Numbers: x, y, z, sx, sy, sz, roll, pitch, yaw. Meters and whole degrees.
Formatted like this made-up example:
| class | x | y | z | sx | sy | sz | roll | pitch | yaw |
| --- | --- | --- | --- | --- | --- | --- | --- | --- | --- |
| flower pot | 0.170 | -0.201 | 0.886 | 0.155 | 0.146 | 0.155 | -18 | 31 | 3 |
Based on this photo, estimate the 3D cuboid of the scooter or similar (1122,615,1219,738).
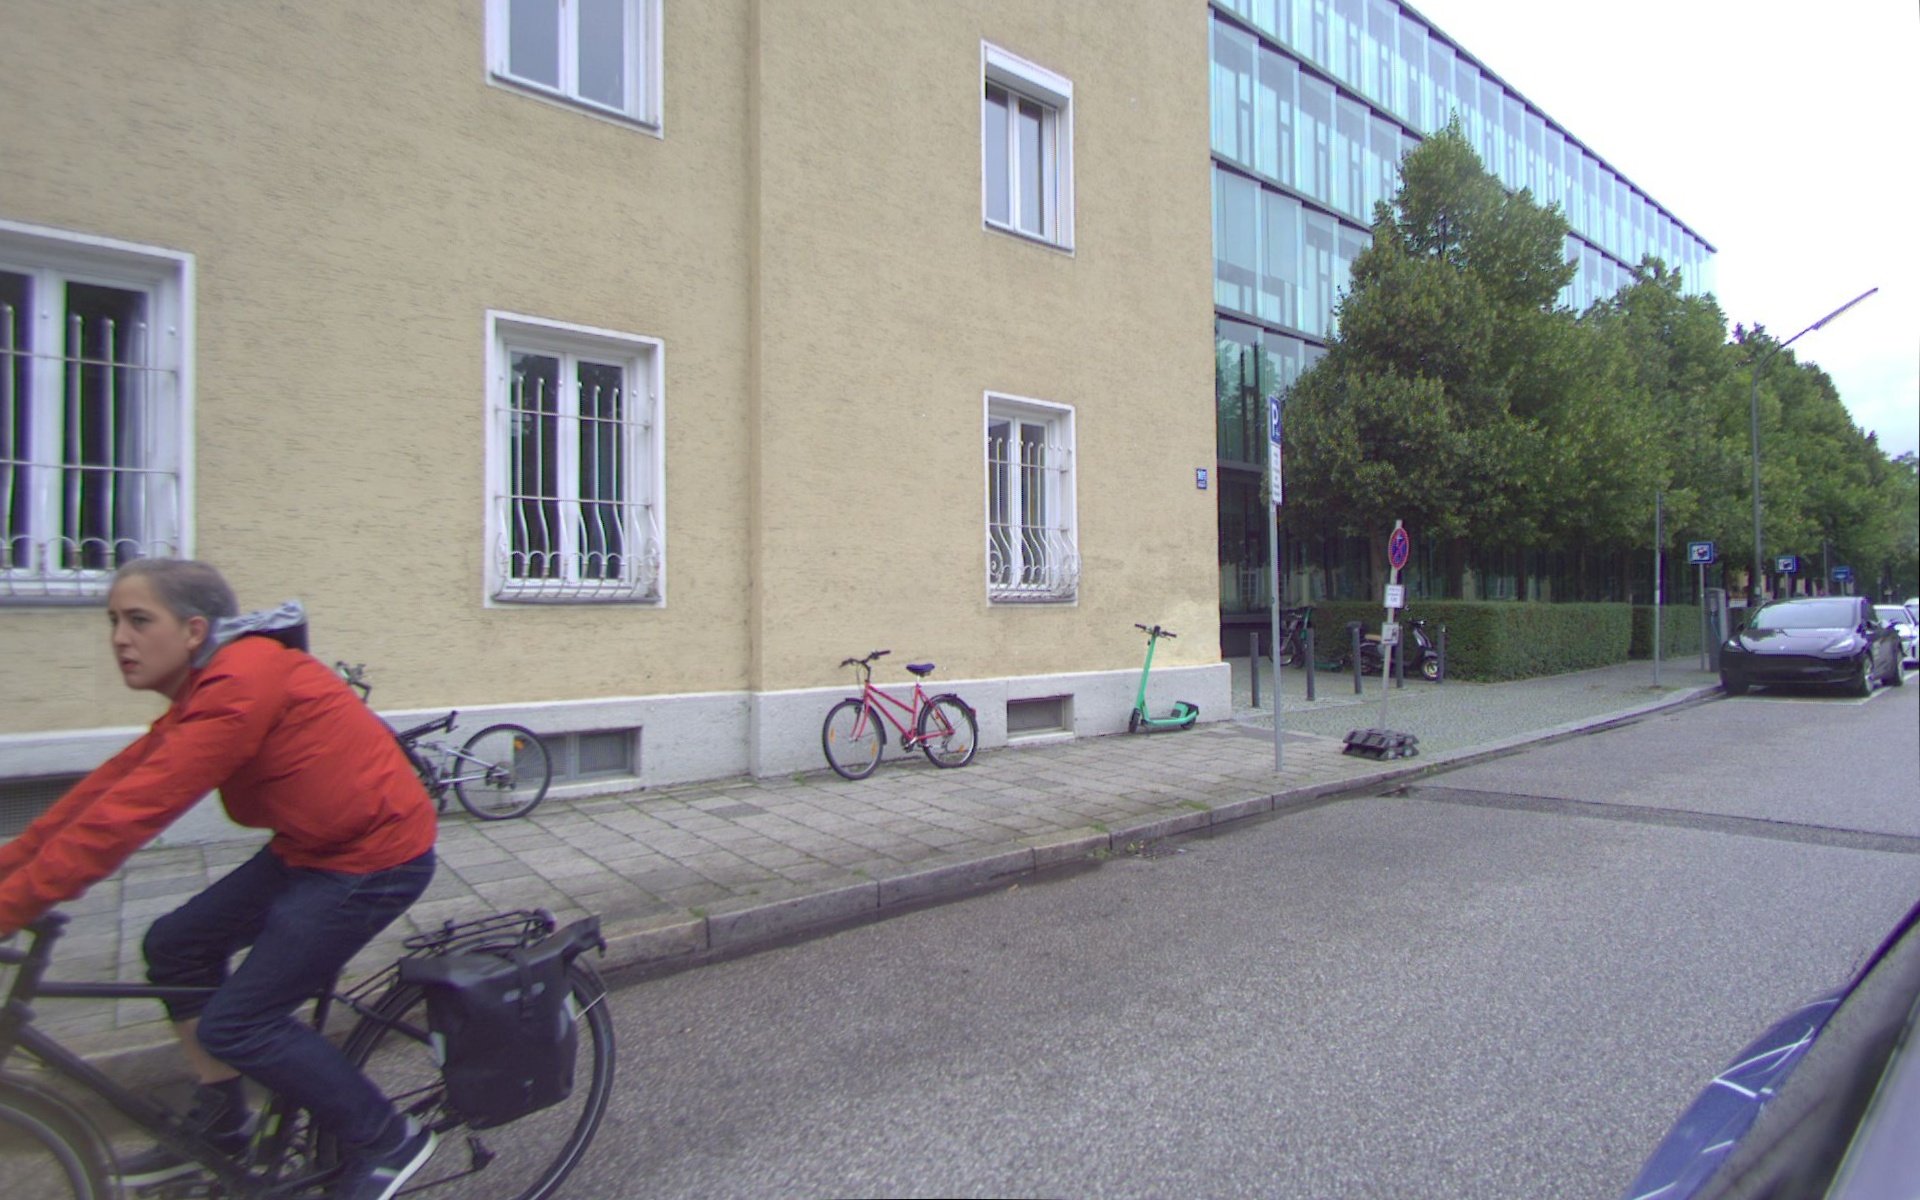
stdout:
| class | x | y | z | sx | sy | sz | roll | pitch | yaw |
| --- | --- | --- | --- | --- | --- | --- | --- | --- | --- |
| scooter or similar | 2.349 | 0.815 | 11.220 | 1.286 | 1.271 | 0.342 | 0 | 0 | -41 |

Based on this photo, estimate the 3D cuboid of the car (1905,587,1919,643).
| class | x | y | z | sx | sy | sz | roll | pitch | yaw |
| --- | --- | --- | --- | --- | --- | --- | --- | --- | --- |
| car | 34.603 | 0.475 | 35.377 | 4.494 | 1.920 | 1.787 | 0 | -3 | -41 |

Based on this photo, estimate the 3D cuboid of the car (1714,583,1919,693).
| class | x | y | z | sx | sy | sz | roll | pitch | yaw |
| --- | --- | --- | --- | --- | --- | --- | --- | --- | --- |
| car | 15.164 | 0.608 | 17.636 | 5.007 | 1.652 | 1.997 | 0 | -2 | -39 |

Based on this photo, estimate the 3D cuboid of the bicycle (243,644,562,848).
| class | x | y | z | sx | sy | sz | roll | pitch | yaw |
| --- | --- | --- | --- | --- | --- | --- | --- | --- | --- |
| bicycle | -3.542 | 0.875 | 6.562 | 1.782 | 1.095 | 0.342 | 0 | 1 | -41 |

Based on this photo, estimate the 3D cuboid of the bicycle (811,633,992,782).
| class | x | y | z | sx | sy | sz | roll | pitch | yaw |
| --- | --- | --- | --- | --- | --- | --- | --- | --- | --- |
| bicycle | -0.471 | 0.880 | 8.798 | 1.728 | 1.150 | 0.342 | 0 | -1 | -41 |

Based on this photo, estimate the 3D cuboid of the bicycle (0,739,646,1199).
| class | x | y | z | sx | sy | sz | roll | pitch | yaw |
| --- | --- | --- | --- | --- | --- | --- | --- | --- | --- |
| bicycle | -1.704 | 0.973 | 2.000 | 1.978 | 1.156 | 0.672 | 0 | -3 | -45 |

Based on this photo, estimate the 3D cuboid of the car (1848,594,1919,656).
| class | x | y | z | sx | sy | sz | roll | pitch | yaw |
| --- | --- | --- | --- | --- | --- | --- | --- | --- | --- |
| car | 26.014 | 0.649 | 27.623 | 4.764 | 1.572 | 1.965 | 0 | -2 | -41 |

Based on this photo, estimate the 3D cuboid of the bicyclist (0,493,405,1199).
| class | x | y | z | sx | sy | sz | roll | pitch | yaw |
| --- | --- | --- | --- | --- | --- | --- | --- | --- | --- |
| bicyclist | -1.738 | 0.590 | 1.990 | 0.965 | 1.502 | 0.754 | 0 | -3 | -45 |

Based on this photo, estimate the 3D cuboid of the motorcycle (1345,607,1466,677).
| class | x | y | z | sx | sy | sz | roll | pitch | yaw |
| --- | --- | --- | --- | --- | --- | --- | --- | --- | --- |
| motorcycle | 8.071 | 0.737 | 18.417 | 0.695 | 1.147 | 1.898 | 0 | 1 | -39 |

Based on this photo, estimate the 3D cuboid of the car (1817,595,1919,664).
| class | x | y | z | sx | sy | sz | roll | pitch | yaw |
| --- | --- | --- | --- | --- | --- | --- | --- | --- | --- |
| car | 22.042 | 0.662 | 24.015 | 4.873 | 1.479 | 1.995 | 0 | -3 | -43 |

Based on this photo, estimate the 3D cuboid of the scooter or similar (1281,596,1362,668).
| class | x | y | z | sx | sy | sz | roll | pitch | yaw |
| --- | --- | --- | --- | --- | --- | --- | --- | --- | --- |
| scooter or similar | 7.051 | 0.594 | 19.762 | 0.659 | 1.318 | 1.349 | -2 | 2 | -44 |

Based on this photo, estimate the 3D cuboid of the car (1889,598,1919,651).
| class | x | y | z | sx | sy | sz | roll | pitch | yaw |
| --- | --- | --- | --- | --- | --- | --- | --- | --- | --- |
| car | 30.432 | 0.713 | 31.360 | 4.920 | 1.572 | 1.949 | 0 | -3 | -43 |
